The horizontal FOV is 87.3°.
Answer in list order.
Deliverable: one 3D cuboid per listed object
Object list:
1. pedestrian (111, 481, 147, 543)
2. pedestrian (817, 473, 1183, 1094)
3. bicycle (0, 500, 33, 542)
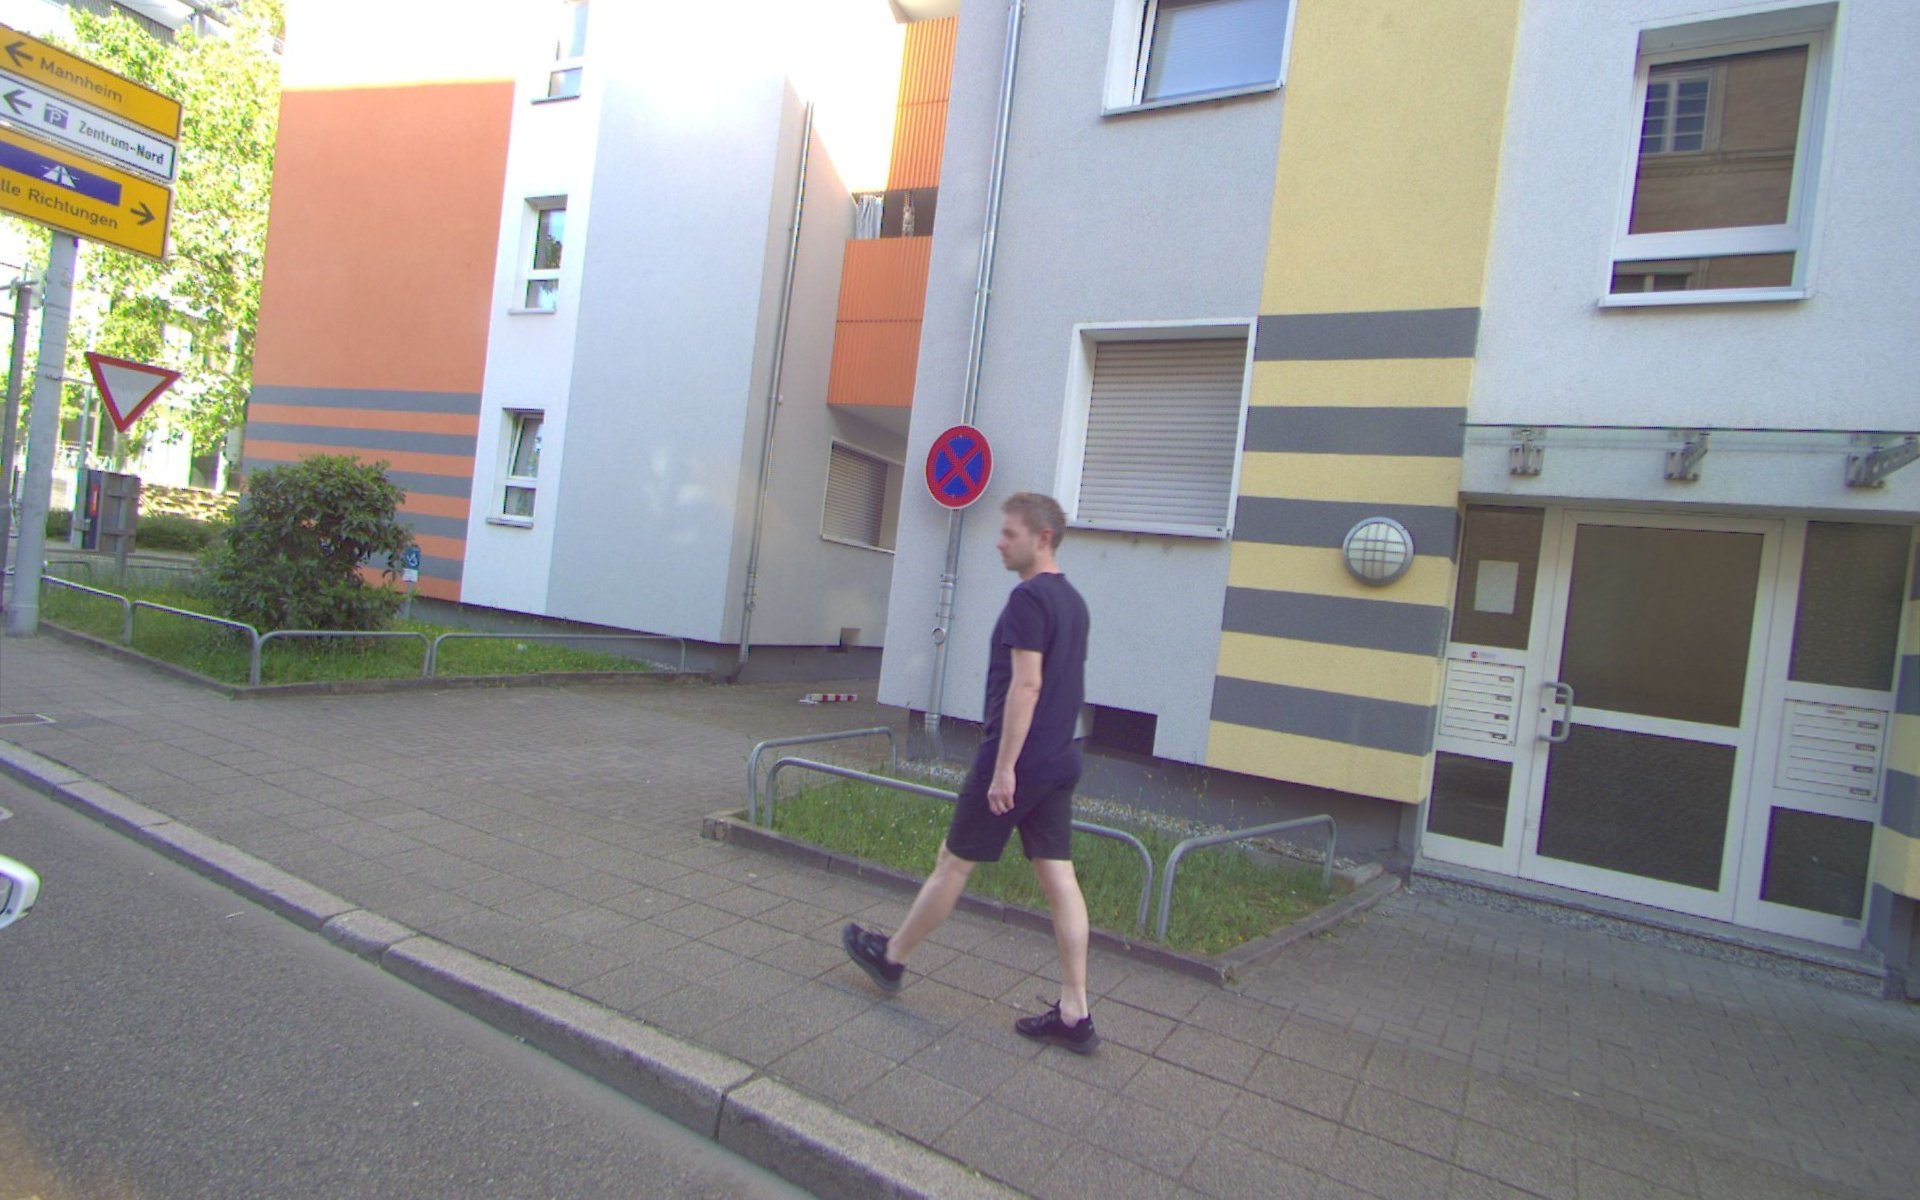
[{"bbox_3d":[-26.449,-2.793,32.008,1.025,1.854,0.537,7,1,39],"label":"pedestrian"},{"bbox_3d":[0.127,0.525,3.452,0.901,1.813,0.643,7,4,35],"label":"pedestrian"},{"bbox_3d":[-26.440,-2.233,27.294,1.883,1.062,0.463,7,1,-10],"label":"bicycle"}]
